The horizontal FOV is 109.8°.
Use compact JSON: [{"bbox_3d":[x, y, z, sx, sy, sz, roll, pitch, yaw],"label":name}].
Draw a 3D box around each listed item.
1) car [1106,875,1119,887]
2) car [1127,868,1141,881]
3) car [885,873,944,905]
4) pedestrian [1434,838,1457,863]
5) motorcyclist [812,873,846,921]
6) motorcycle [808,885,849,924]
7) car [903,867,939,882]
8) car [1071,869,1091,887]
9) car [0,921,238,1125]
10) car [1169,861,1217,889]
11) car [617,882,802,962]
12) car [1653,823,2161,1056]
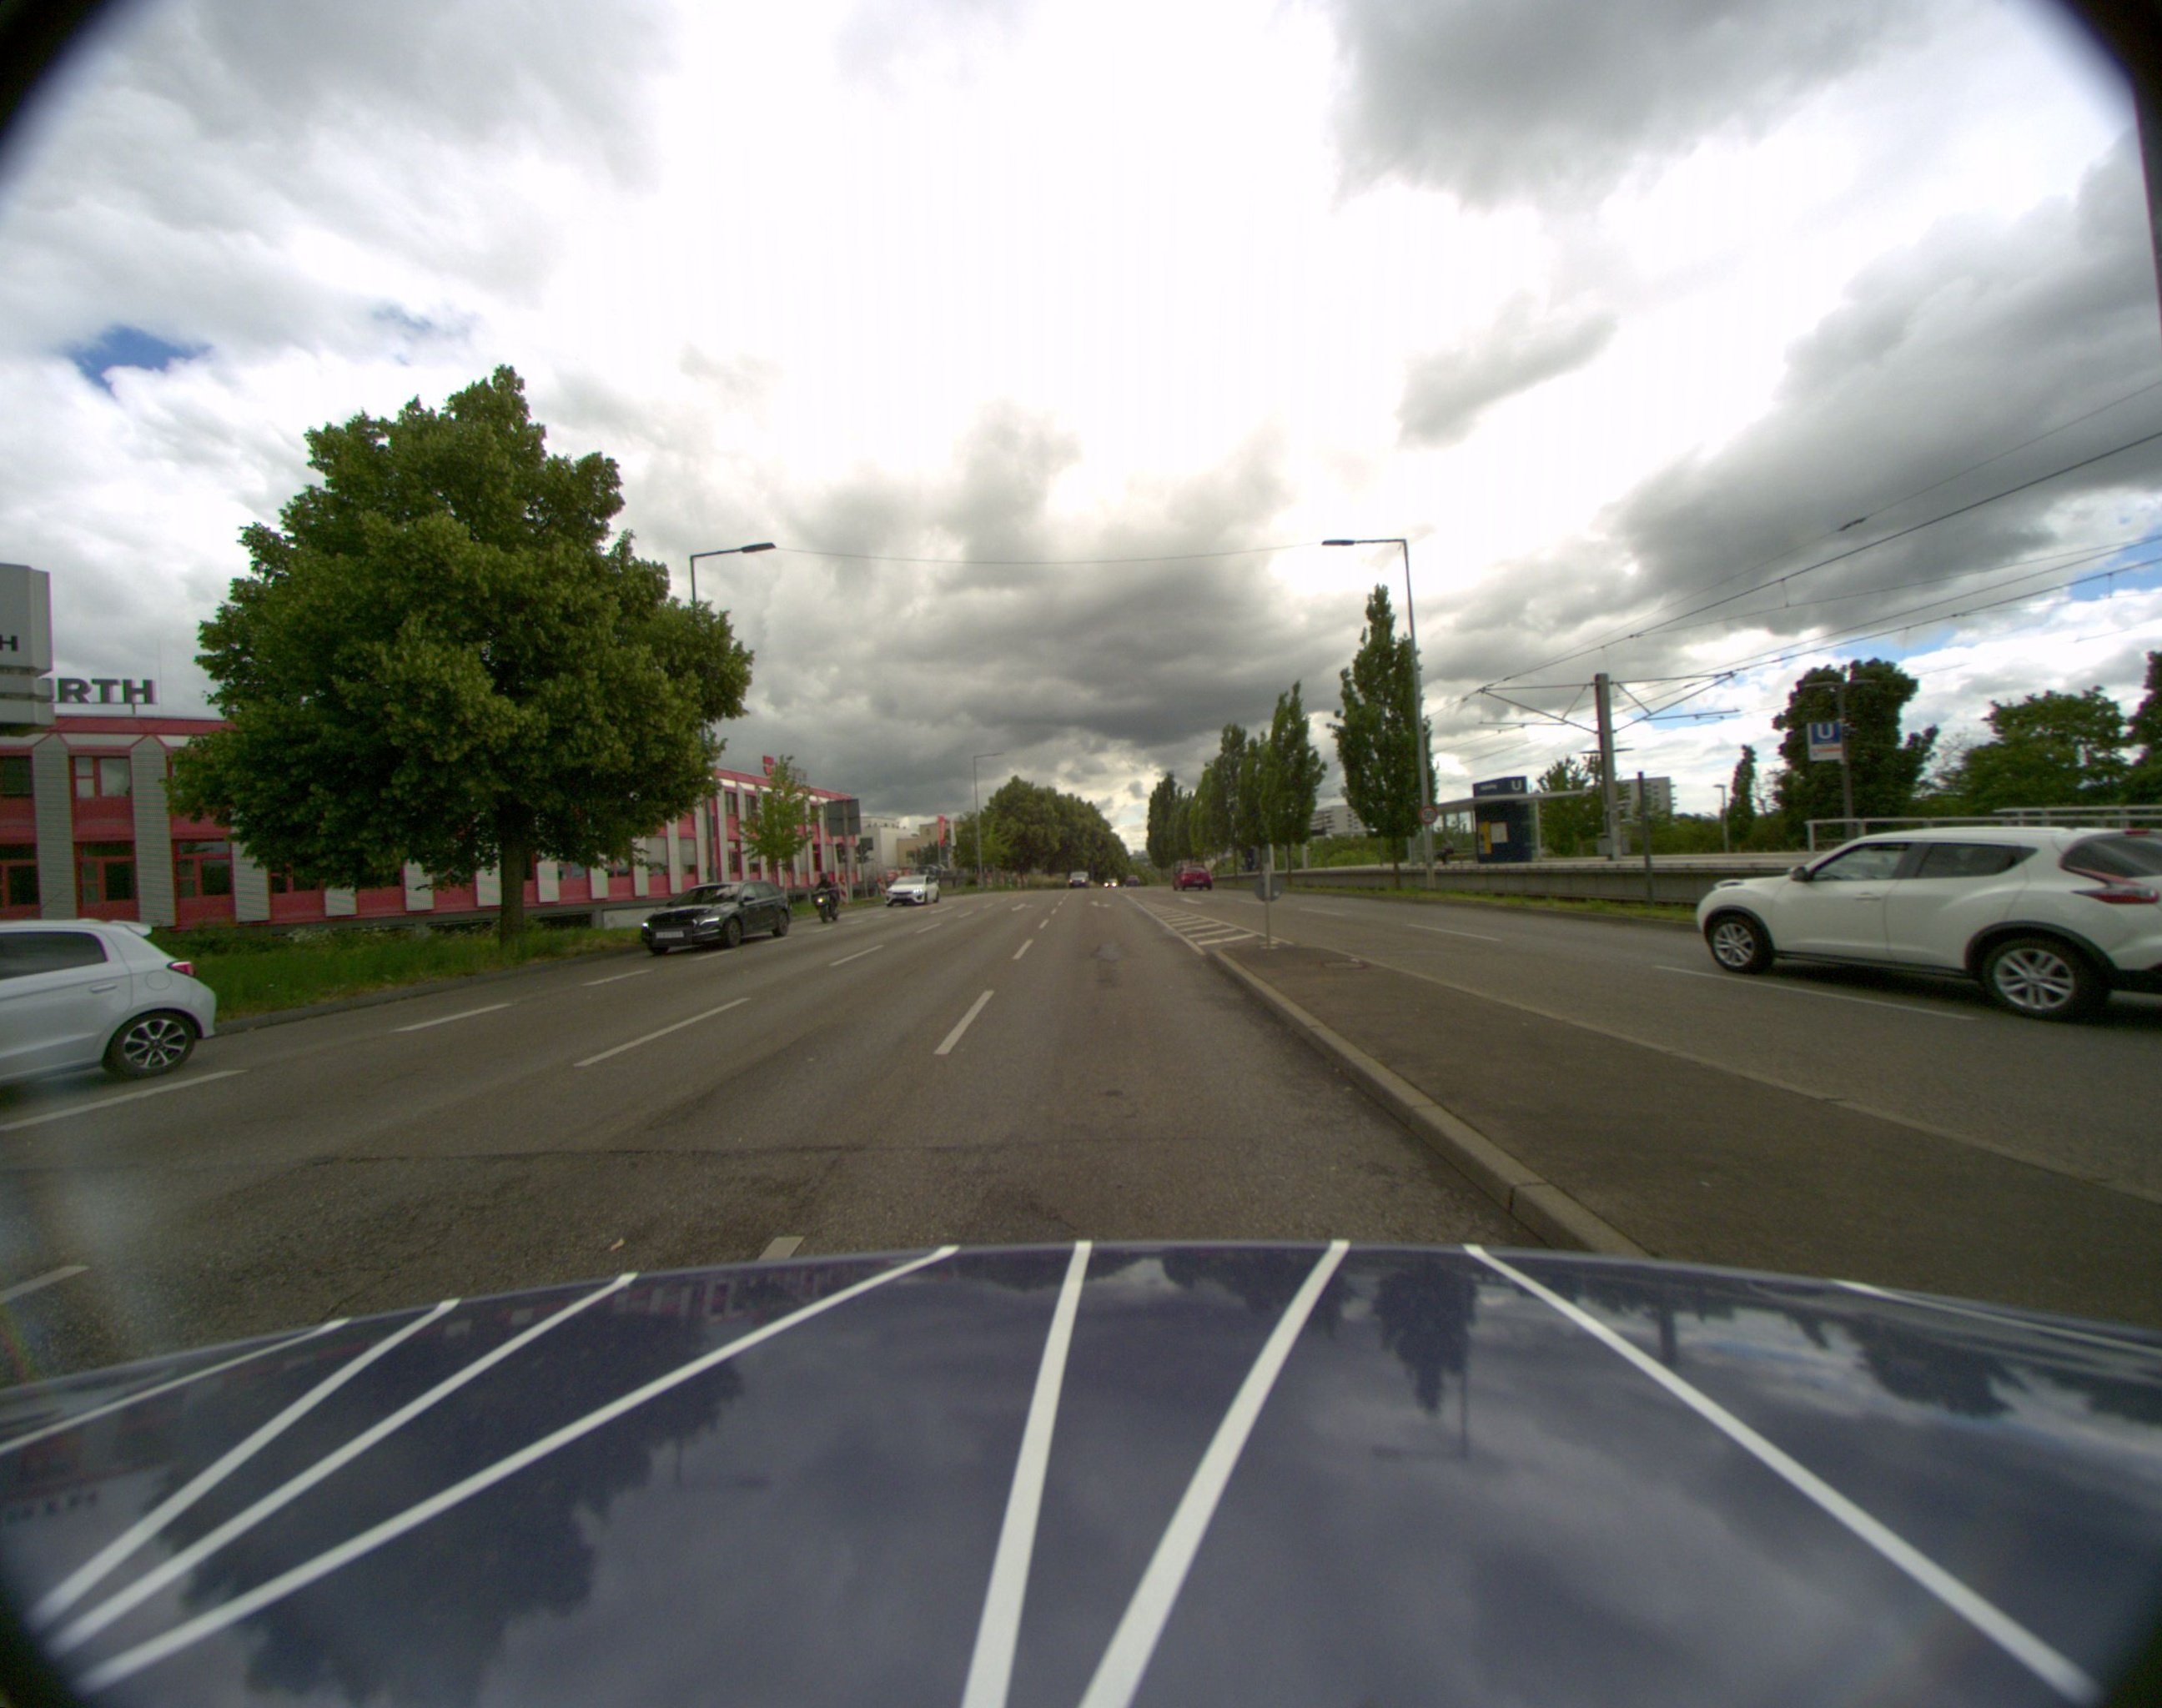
[{"bbox_3d":[5.133,4.370,123.686,1.984,1.744,4.253,-2,0,3],"label":"car"},{"bbox_3d":[7.134,2.732,101.942,1.782,1.537,4.226,-2,0,5],"label":"car"},{"bbox_3d":[-7.812,1.628,36.053,1.785,1.354,4.480,-2,-2,0],"label":"car"},{"bbox_3d":[17.620,-0.172,36.729,0.663,1.195,0.782,-2,0,-7],"label":"pedestrian"},{"bbox_3d":[-8.125,1.374,24.499,0.750,1.481,0.933,-4,-1,-5],"label":"motorcyclist"},{"bbox_3d":[-8.111,1.597,24.475,0.750,1.140,1.942,-4,-1,-5],"label":"motorcycle"},{"bbox_3d":[-21.217,2.690,101.001,4.248,1.744,1.784,-2,0,2],"label":"car"},{"bbox_3d":[0.057,2.542,80.356,1.782,1.744,4.253,-2,0,4],"label":"car"},{"bbox_3d":[-9.146,1.407,5.401,1.784,1.434,3.837,-6,-2,6],"label":"car"},{"bbox_3d":[6.427,1.175,43.960,1.786,1.434,4.424,-3,-1,-4],"label":"car"},{"bbox_3d":[-8.183,1.424,17.280,1.785,1.437,4.530,-5,-2,1],"label":"car"},{"bbox_3d":[8.268,0.572,7.414,1.834,1.619,4.424,-1,0,-4],"label":"car"}]
